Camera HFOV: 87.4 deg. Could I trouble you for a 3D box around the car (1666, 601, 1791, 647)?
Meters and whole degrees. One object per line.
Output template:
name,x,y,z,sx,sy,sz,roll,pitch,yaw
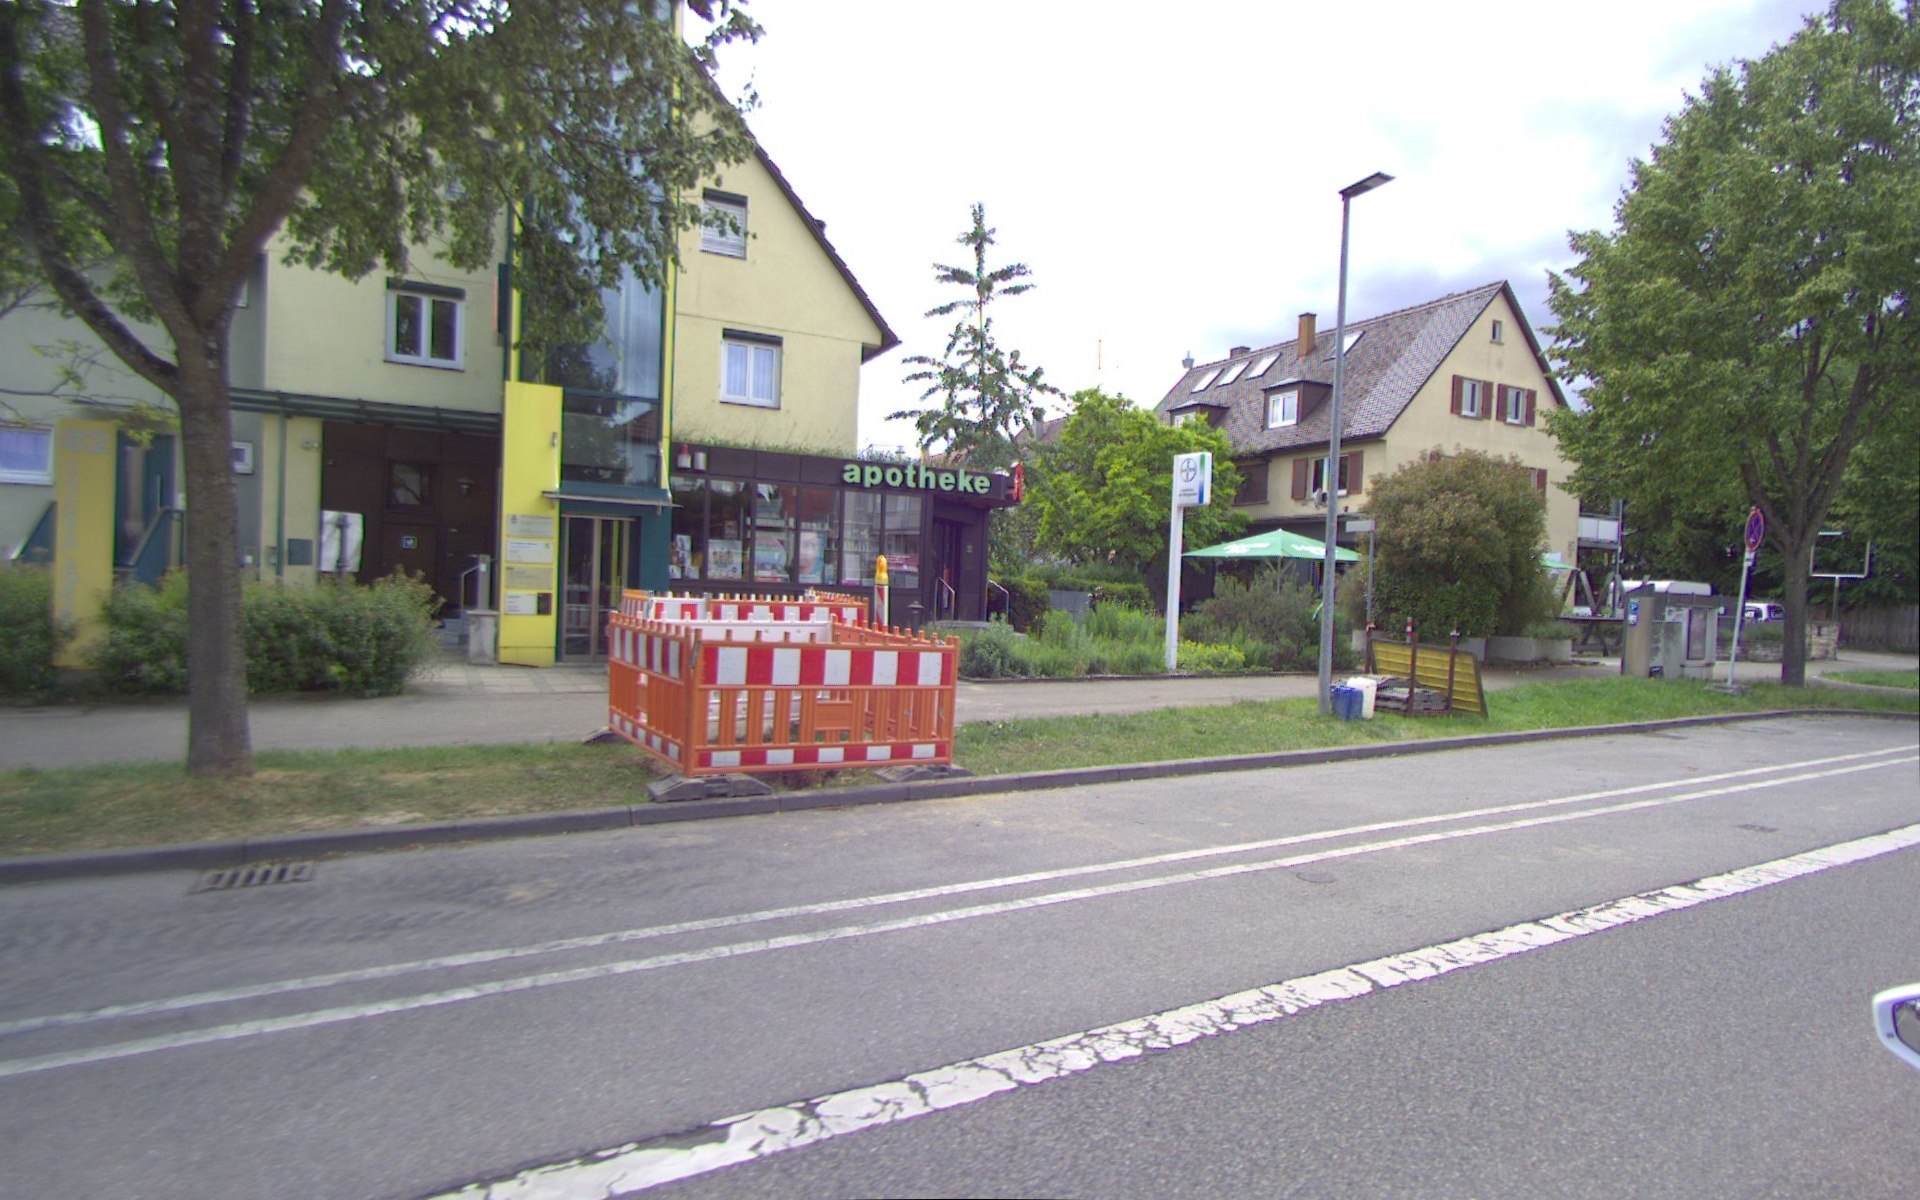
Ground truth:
car,33.455,1.009,43.824,1.723,1.793,3.973,2,0,-26
